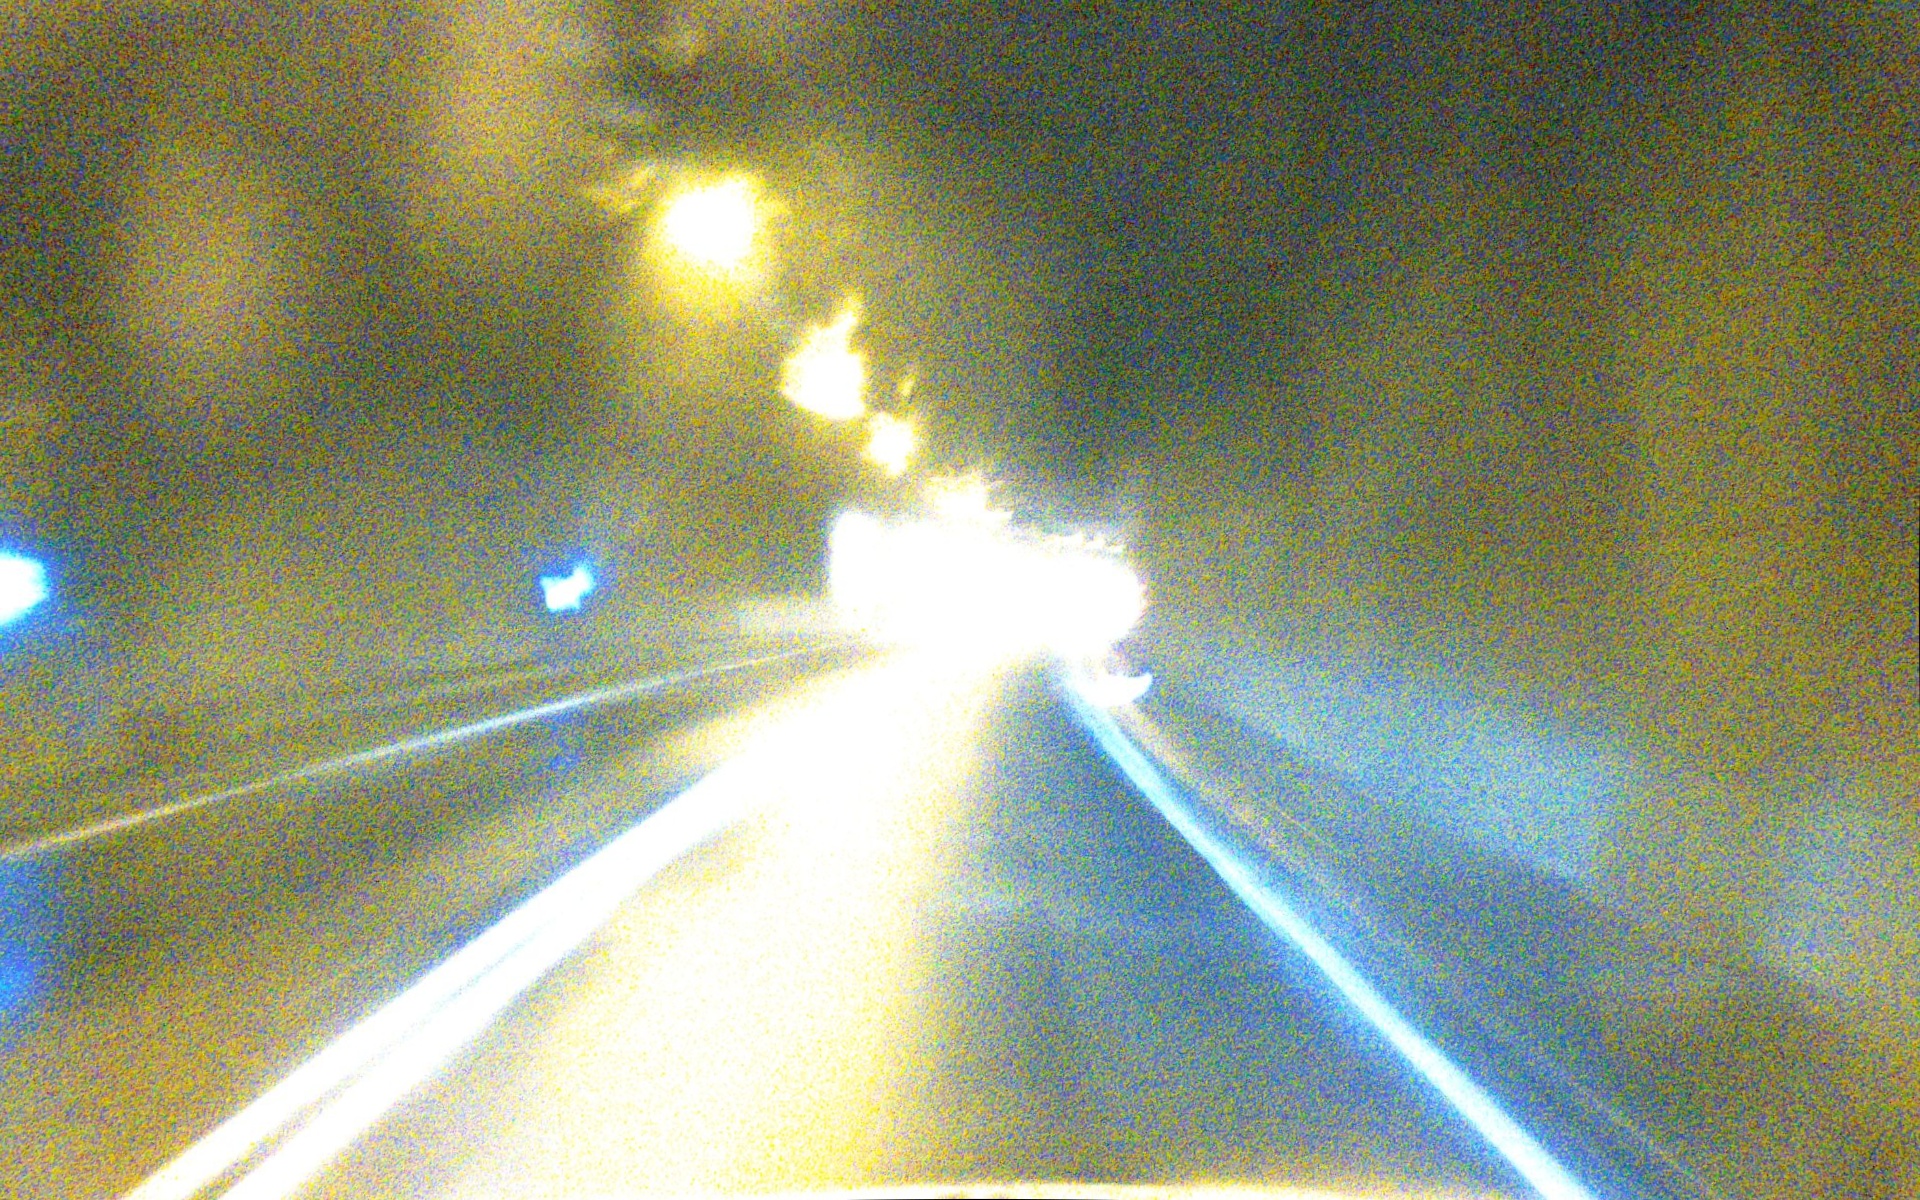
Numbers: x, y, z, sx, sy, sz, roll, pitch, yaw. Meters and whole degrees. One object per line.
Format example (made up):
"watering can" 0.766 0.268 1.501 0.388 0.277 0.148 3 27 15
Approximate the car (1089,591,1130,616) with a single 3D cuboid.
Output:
"car" 10.650 0.243 117.566 1.952 1.679 4.000 1 0 21
